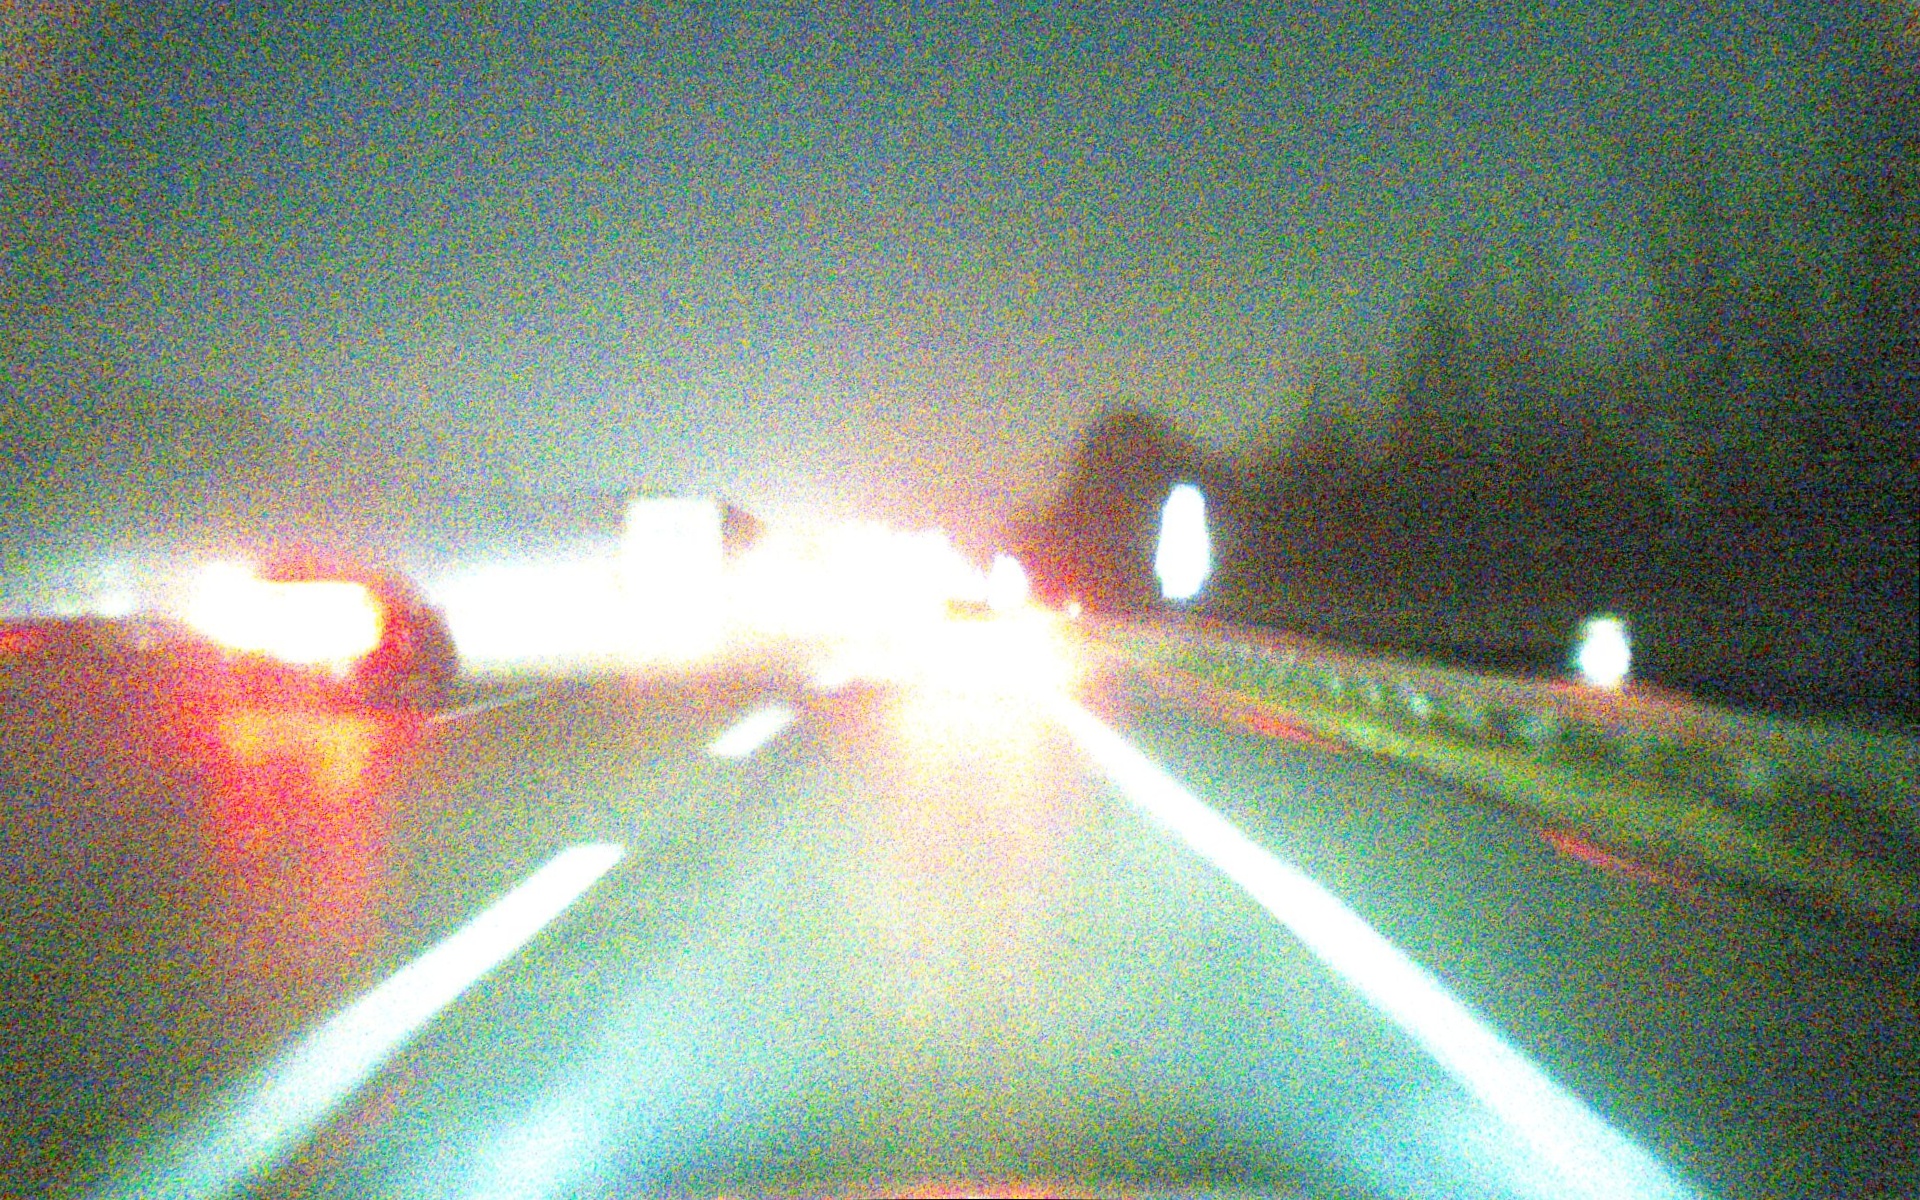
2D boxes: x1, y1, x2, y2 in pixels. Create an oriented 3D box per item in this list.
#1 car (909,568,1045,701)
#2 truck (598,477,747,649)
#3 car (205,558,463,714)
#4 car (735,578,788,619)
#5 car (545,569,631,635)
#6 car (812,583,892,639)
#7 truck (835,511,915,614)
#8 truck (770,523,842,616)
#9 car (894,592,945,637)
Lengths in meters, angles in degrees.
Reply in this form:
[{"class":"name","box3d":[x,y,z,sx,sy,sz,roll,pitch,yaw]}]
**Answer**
[{"class":"car","box3d":[0.244,0.468,24.775,1.839,1.793,4.000,1,0,0]},{"class":"truck","box3d":[-8.810,-1.077,51.971,3.584,4.820,9.843,1,0,-4]},{"class":"car","box3d":[-8.012,0.411,21.657,1.999,1.792,4.510,1,0,-5]},{"class":"car","box3d":[-10.458,-0.088,87.462,2.147,2.015,5.198,1,0,0]},{"class":"car","box3d":[-12.795,0.044,57.172,2.081,2.141,5.624,1,1,-5]},{"class":"car","box3d":[-4.192,0.392,65.242,2.775,2.049,5.510,1,0,0]},{"class":"truck","box3d":[-4.669,-1.969,90.999,4.079,5.306,9.948,1,0,-3]},{"class":"truck","box3d":[-9.757,-1.887,105.882,4.170,5.539,10.876,1,0,-4]},{"class":"car","box3d":[-1.626,0.546,67.336,1.953,1.733,4.458,1,0,0]}]
